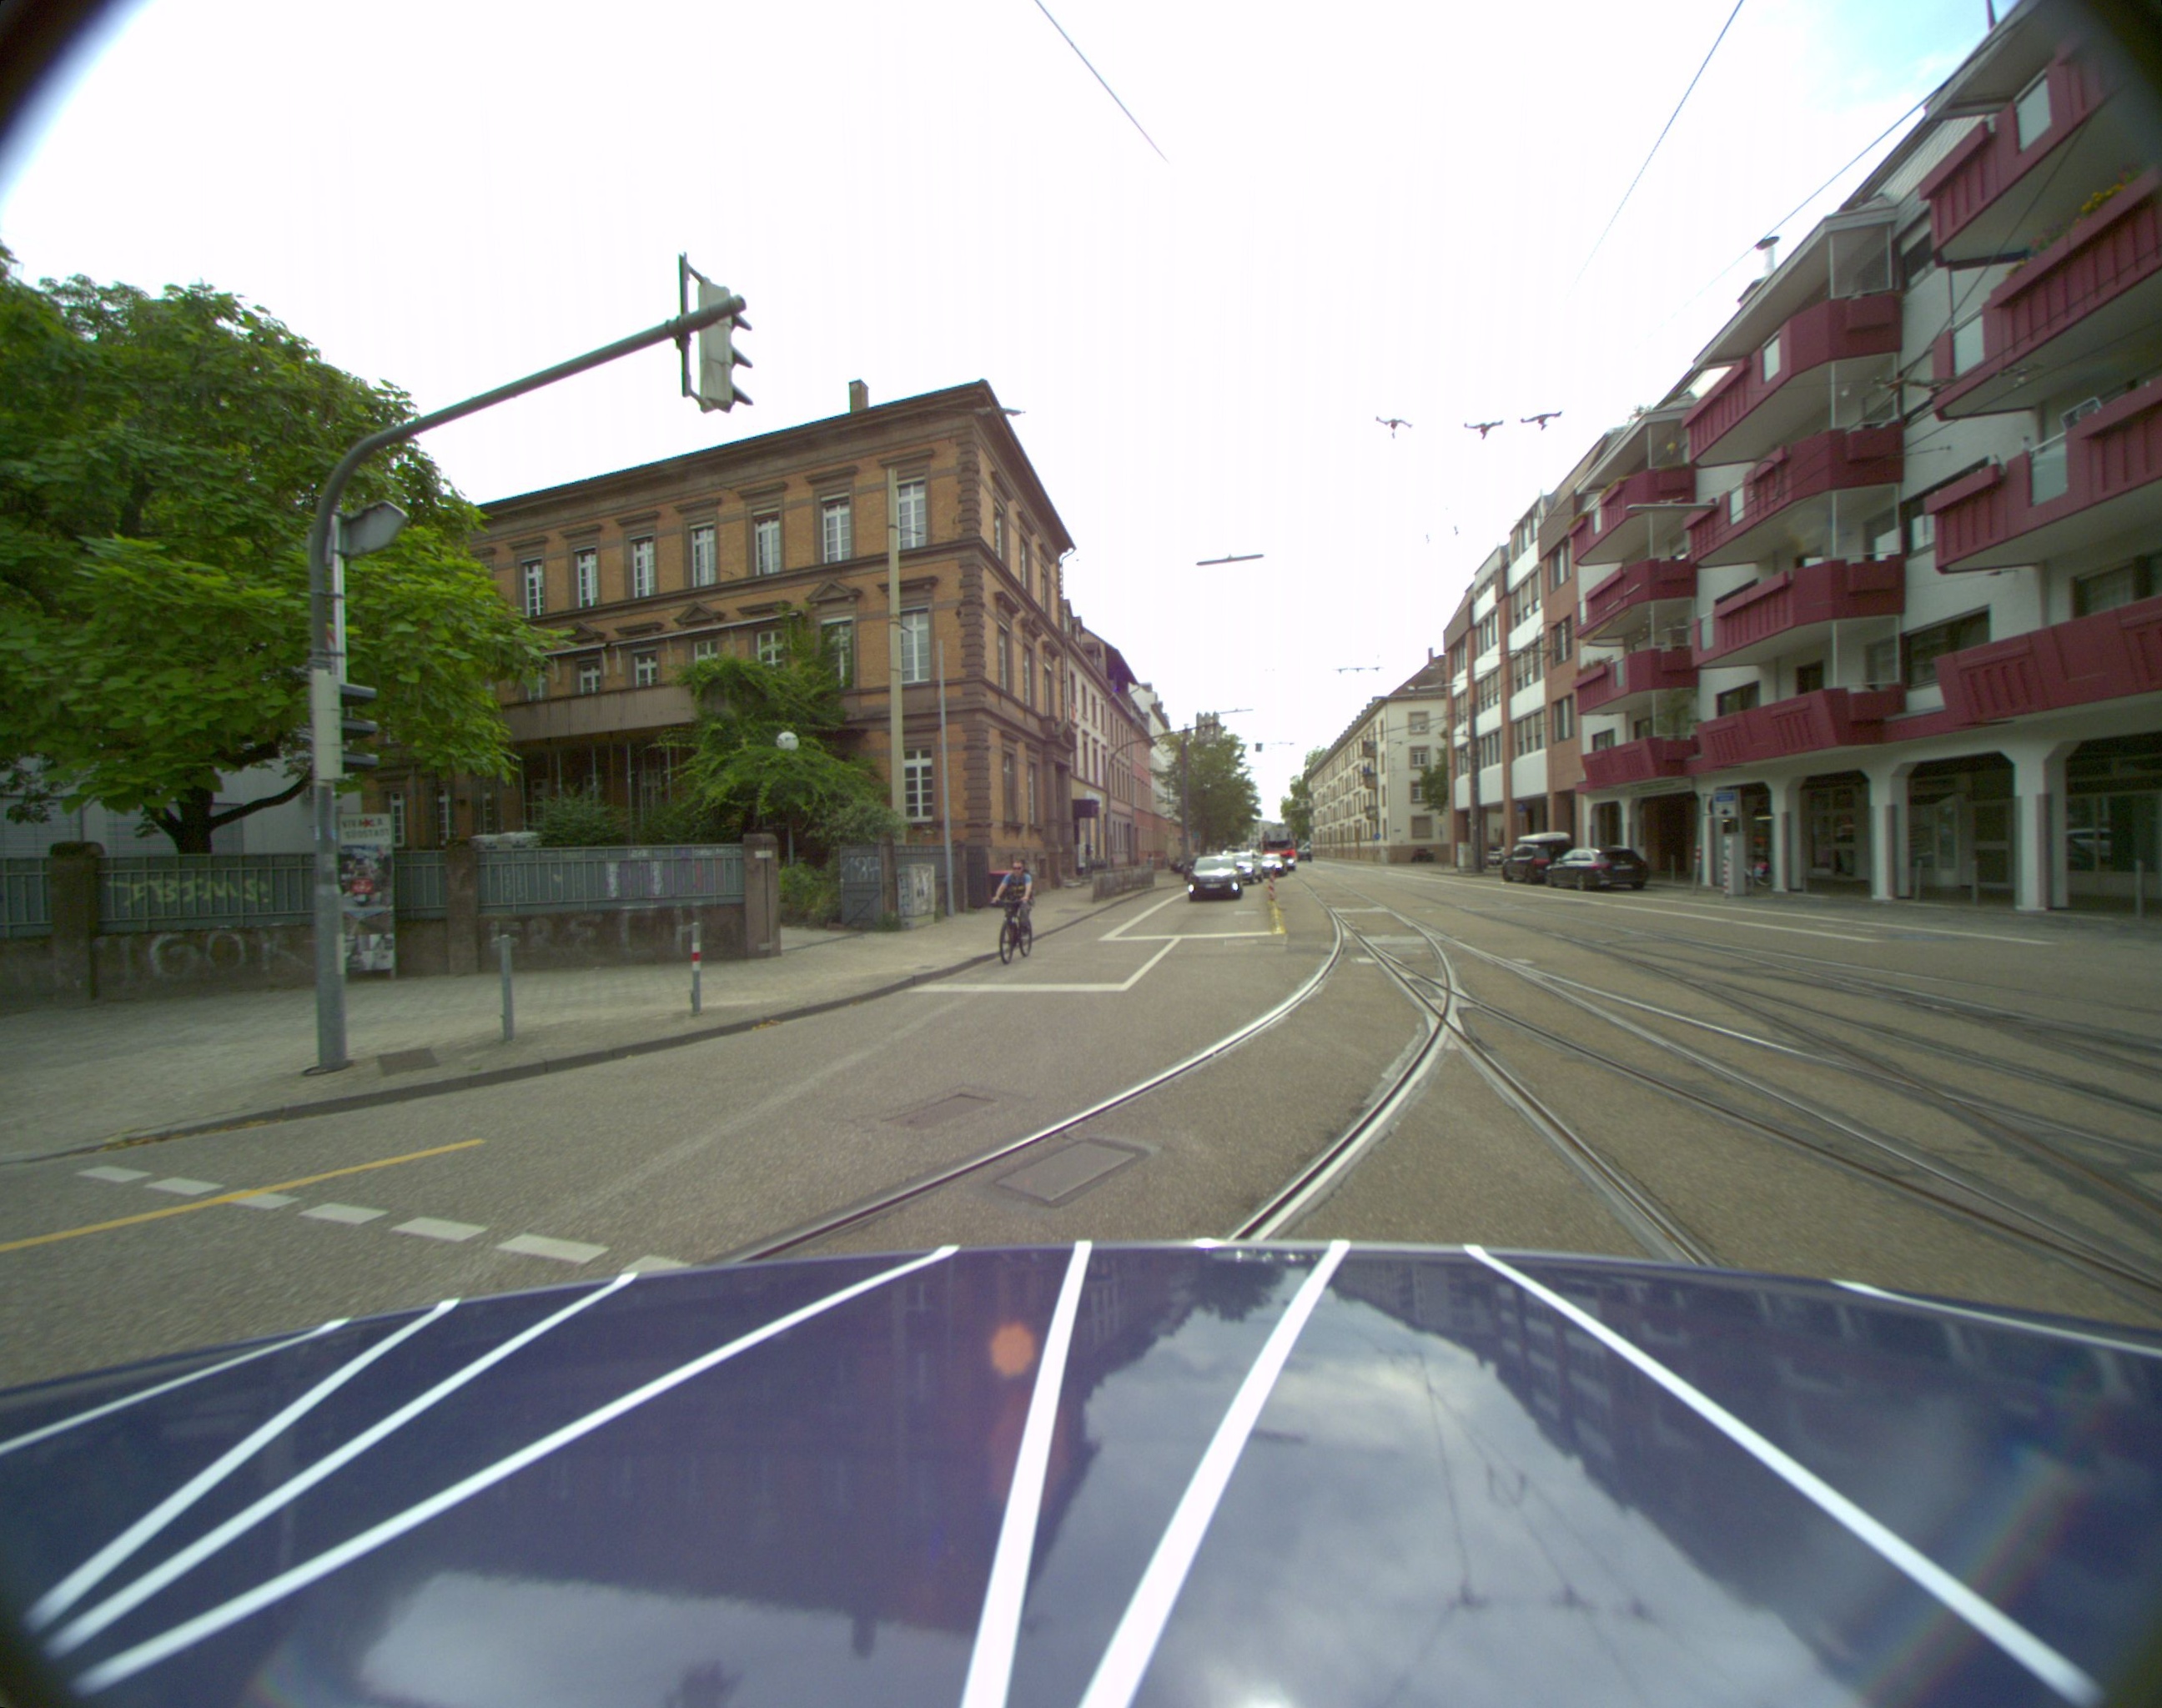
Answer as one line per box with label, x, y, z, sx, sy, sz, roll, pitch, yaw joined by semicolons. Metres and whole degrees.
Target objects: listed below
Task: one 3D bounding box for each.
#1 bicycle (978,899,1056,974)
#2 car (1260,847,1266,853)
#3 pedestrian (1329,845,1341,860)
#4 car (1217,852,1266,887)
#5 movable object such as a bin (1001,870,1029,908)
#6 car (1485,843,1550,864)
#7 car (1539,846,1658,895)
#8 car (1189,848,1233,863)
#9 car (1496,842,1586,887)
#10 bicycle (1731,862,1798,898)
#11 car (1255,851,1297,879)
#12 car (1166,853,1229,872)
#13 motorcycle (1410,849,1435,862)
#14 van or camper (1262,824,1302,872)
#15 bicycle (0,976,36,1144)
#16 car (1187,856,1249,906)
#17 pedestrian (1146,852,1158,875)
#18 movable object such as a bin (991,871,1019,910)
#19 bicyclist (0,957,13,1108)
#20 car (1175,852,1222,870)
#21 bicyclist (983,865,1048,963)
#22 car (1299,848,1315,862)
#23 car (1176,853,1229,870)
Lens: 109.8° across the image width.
bicycle;-1.026;1.336;12.688;0.714;1.012;1.802;-5;0;12
car;58.118;-1.248;242.238;1.897;1.806;4.004;-1;0;14
pedestrian;31.456;-0.167;94.203;1.003;1.831;1.017;-2;1;-34
car;8.205;0.748;38.564;1.771;1.581;4.287;-3;0;19
movable object such as a bin;-2.015;1.060;23.181;0.664;1.076;0.701;2;2;10
car;31.148;-0.061;54.312;3.645;1.380;1.612;-2;1;4
car;17.776;0.509;26.371;1.757;1.471;4.702;-4;0;13
car;14.944;0.217;87.448;4.629;1.688;1.915;0;0;-11
car;19.224;0.388;32.009;1.809;1.637;4.702;-4;0;13
bicycle;19.730;0.738;21.967;0.565;0.948;1.651;-2;0;6
car;12.135;0.648;47.174;1.770;1.526;4.055;-3;0;25
car;9.332;0.687;61.005;4.629;1.464;1.788;0;0;-11
motorcycle;30.835;0.139;68.664;1.922;1.080;0.794;-2;1;13
van or camper;15.707;-0.446;59.919;2.605;3.401;9.661;-2;0;13
bicycle;-8.206;1.393;5.138;2.011;1.080;0.752;0;3;20
car;5.078;0.916;27.733;1.771;1.538;4.287;-3;0;16
pedestrian;5.235;0.683;55.814;0.731;1.679;0.927;2;1;13
movable object such as a bin;-2.252;1.077;22.502;0.652;1.076;0.678;2;2;10
bicyclist;-8.153;0.884;5.088;1.250;1.751;0.749;0;3;19
car;11.594;0.682;75.098;4.240;1.688;1.738;0;0;-11
bicyclist;-1.072;0.974;12.662;0.715;1.498;0.919;-5;0;12
car;28.014;0.095;94.254;1.771;1.528;4.053;-3;0;14
car;10.877;0.665;68.075;4.346;1.471;1.788;0;0;-11
